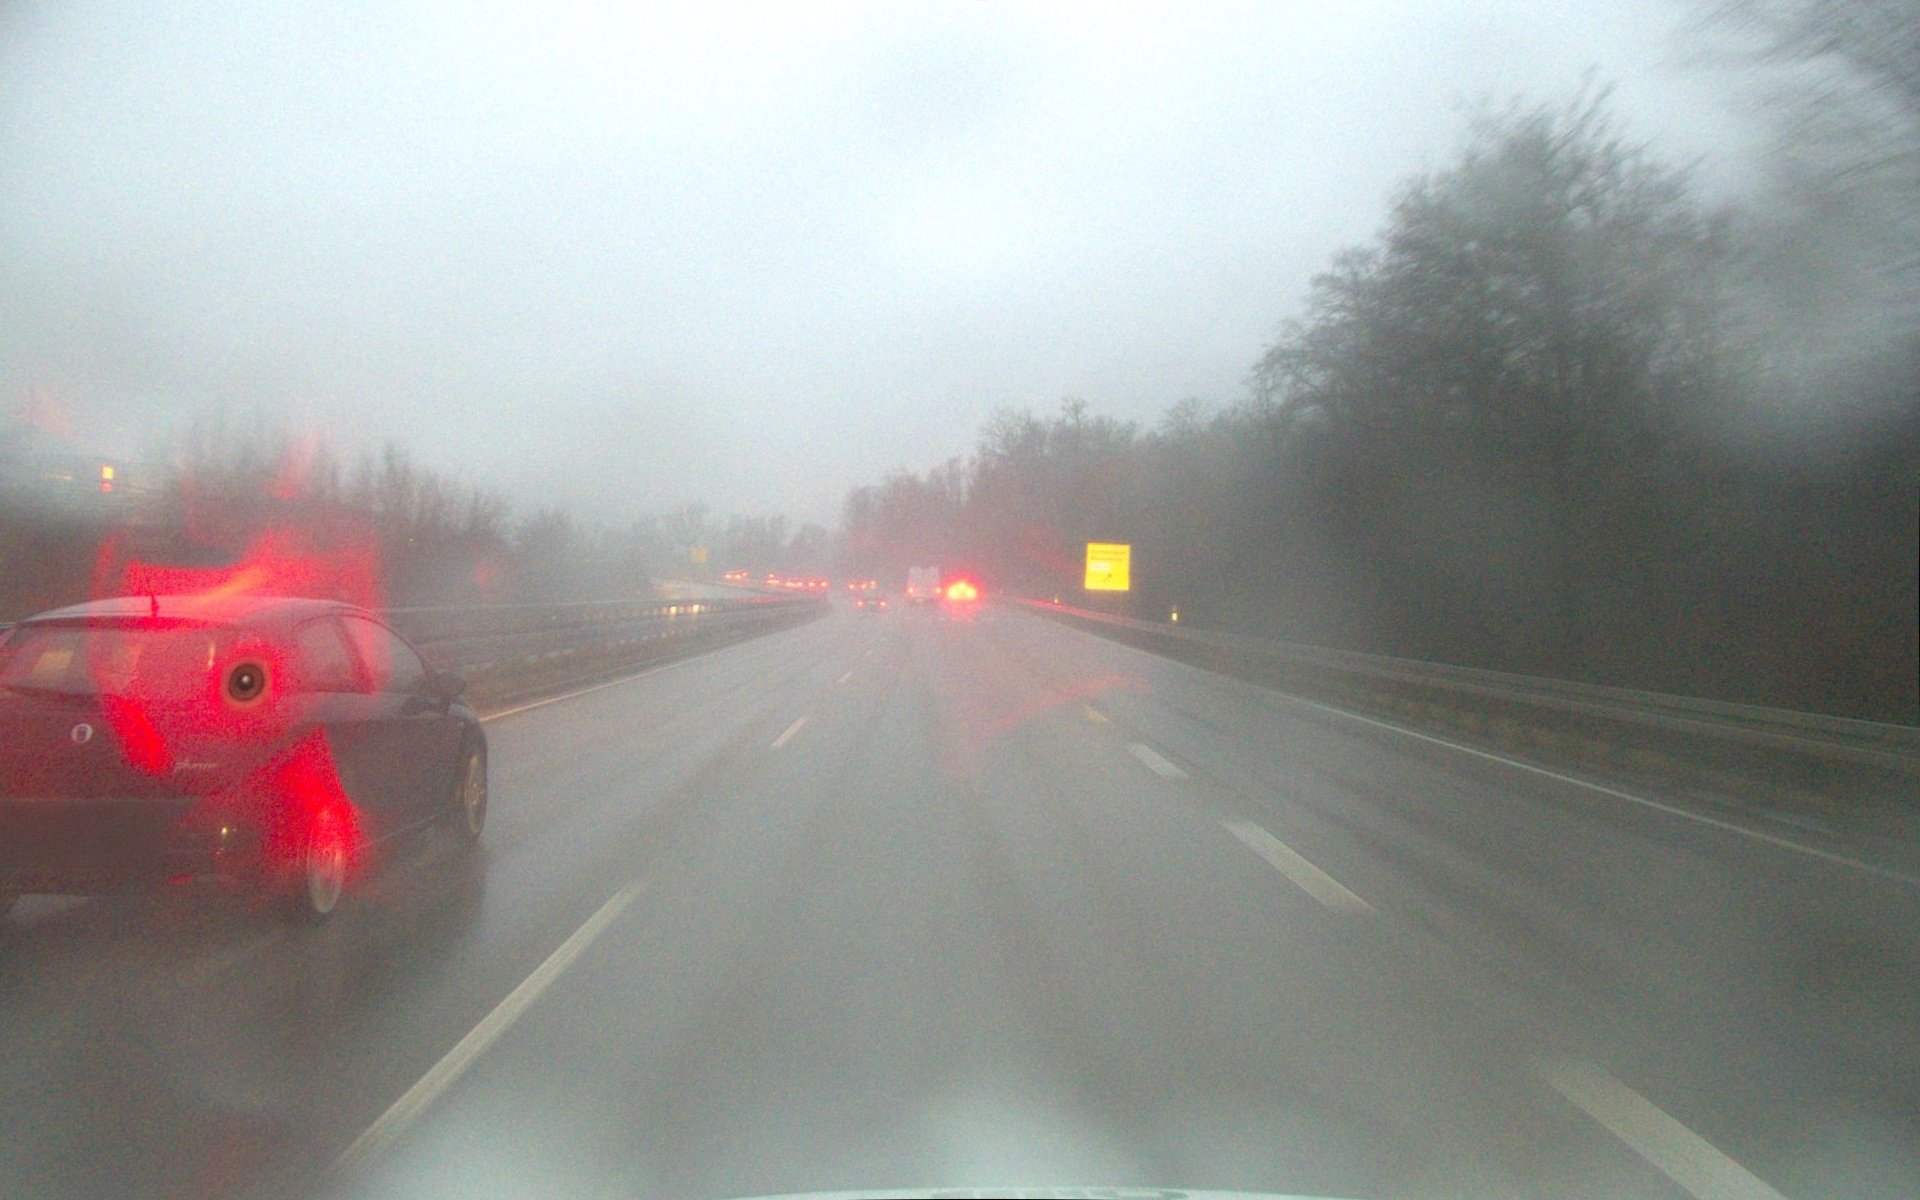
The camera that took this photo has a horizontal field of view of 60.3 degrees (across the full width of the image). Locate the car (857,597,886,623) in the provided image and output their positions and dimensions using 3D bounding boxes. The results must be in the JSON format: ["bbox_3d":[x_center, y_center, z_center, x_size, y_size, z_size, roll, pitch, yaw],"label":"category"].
[{"bbox_3d":[-4.756,0.514,89.444,1.387,1.340,3.082,2,0,-1],"label":"car"}]

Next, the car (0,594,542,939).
[{"bbox_3d":[-3.560,0.723,9.031,1.593,1.416,3.998,2,0,-2],"label":"car"}]
